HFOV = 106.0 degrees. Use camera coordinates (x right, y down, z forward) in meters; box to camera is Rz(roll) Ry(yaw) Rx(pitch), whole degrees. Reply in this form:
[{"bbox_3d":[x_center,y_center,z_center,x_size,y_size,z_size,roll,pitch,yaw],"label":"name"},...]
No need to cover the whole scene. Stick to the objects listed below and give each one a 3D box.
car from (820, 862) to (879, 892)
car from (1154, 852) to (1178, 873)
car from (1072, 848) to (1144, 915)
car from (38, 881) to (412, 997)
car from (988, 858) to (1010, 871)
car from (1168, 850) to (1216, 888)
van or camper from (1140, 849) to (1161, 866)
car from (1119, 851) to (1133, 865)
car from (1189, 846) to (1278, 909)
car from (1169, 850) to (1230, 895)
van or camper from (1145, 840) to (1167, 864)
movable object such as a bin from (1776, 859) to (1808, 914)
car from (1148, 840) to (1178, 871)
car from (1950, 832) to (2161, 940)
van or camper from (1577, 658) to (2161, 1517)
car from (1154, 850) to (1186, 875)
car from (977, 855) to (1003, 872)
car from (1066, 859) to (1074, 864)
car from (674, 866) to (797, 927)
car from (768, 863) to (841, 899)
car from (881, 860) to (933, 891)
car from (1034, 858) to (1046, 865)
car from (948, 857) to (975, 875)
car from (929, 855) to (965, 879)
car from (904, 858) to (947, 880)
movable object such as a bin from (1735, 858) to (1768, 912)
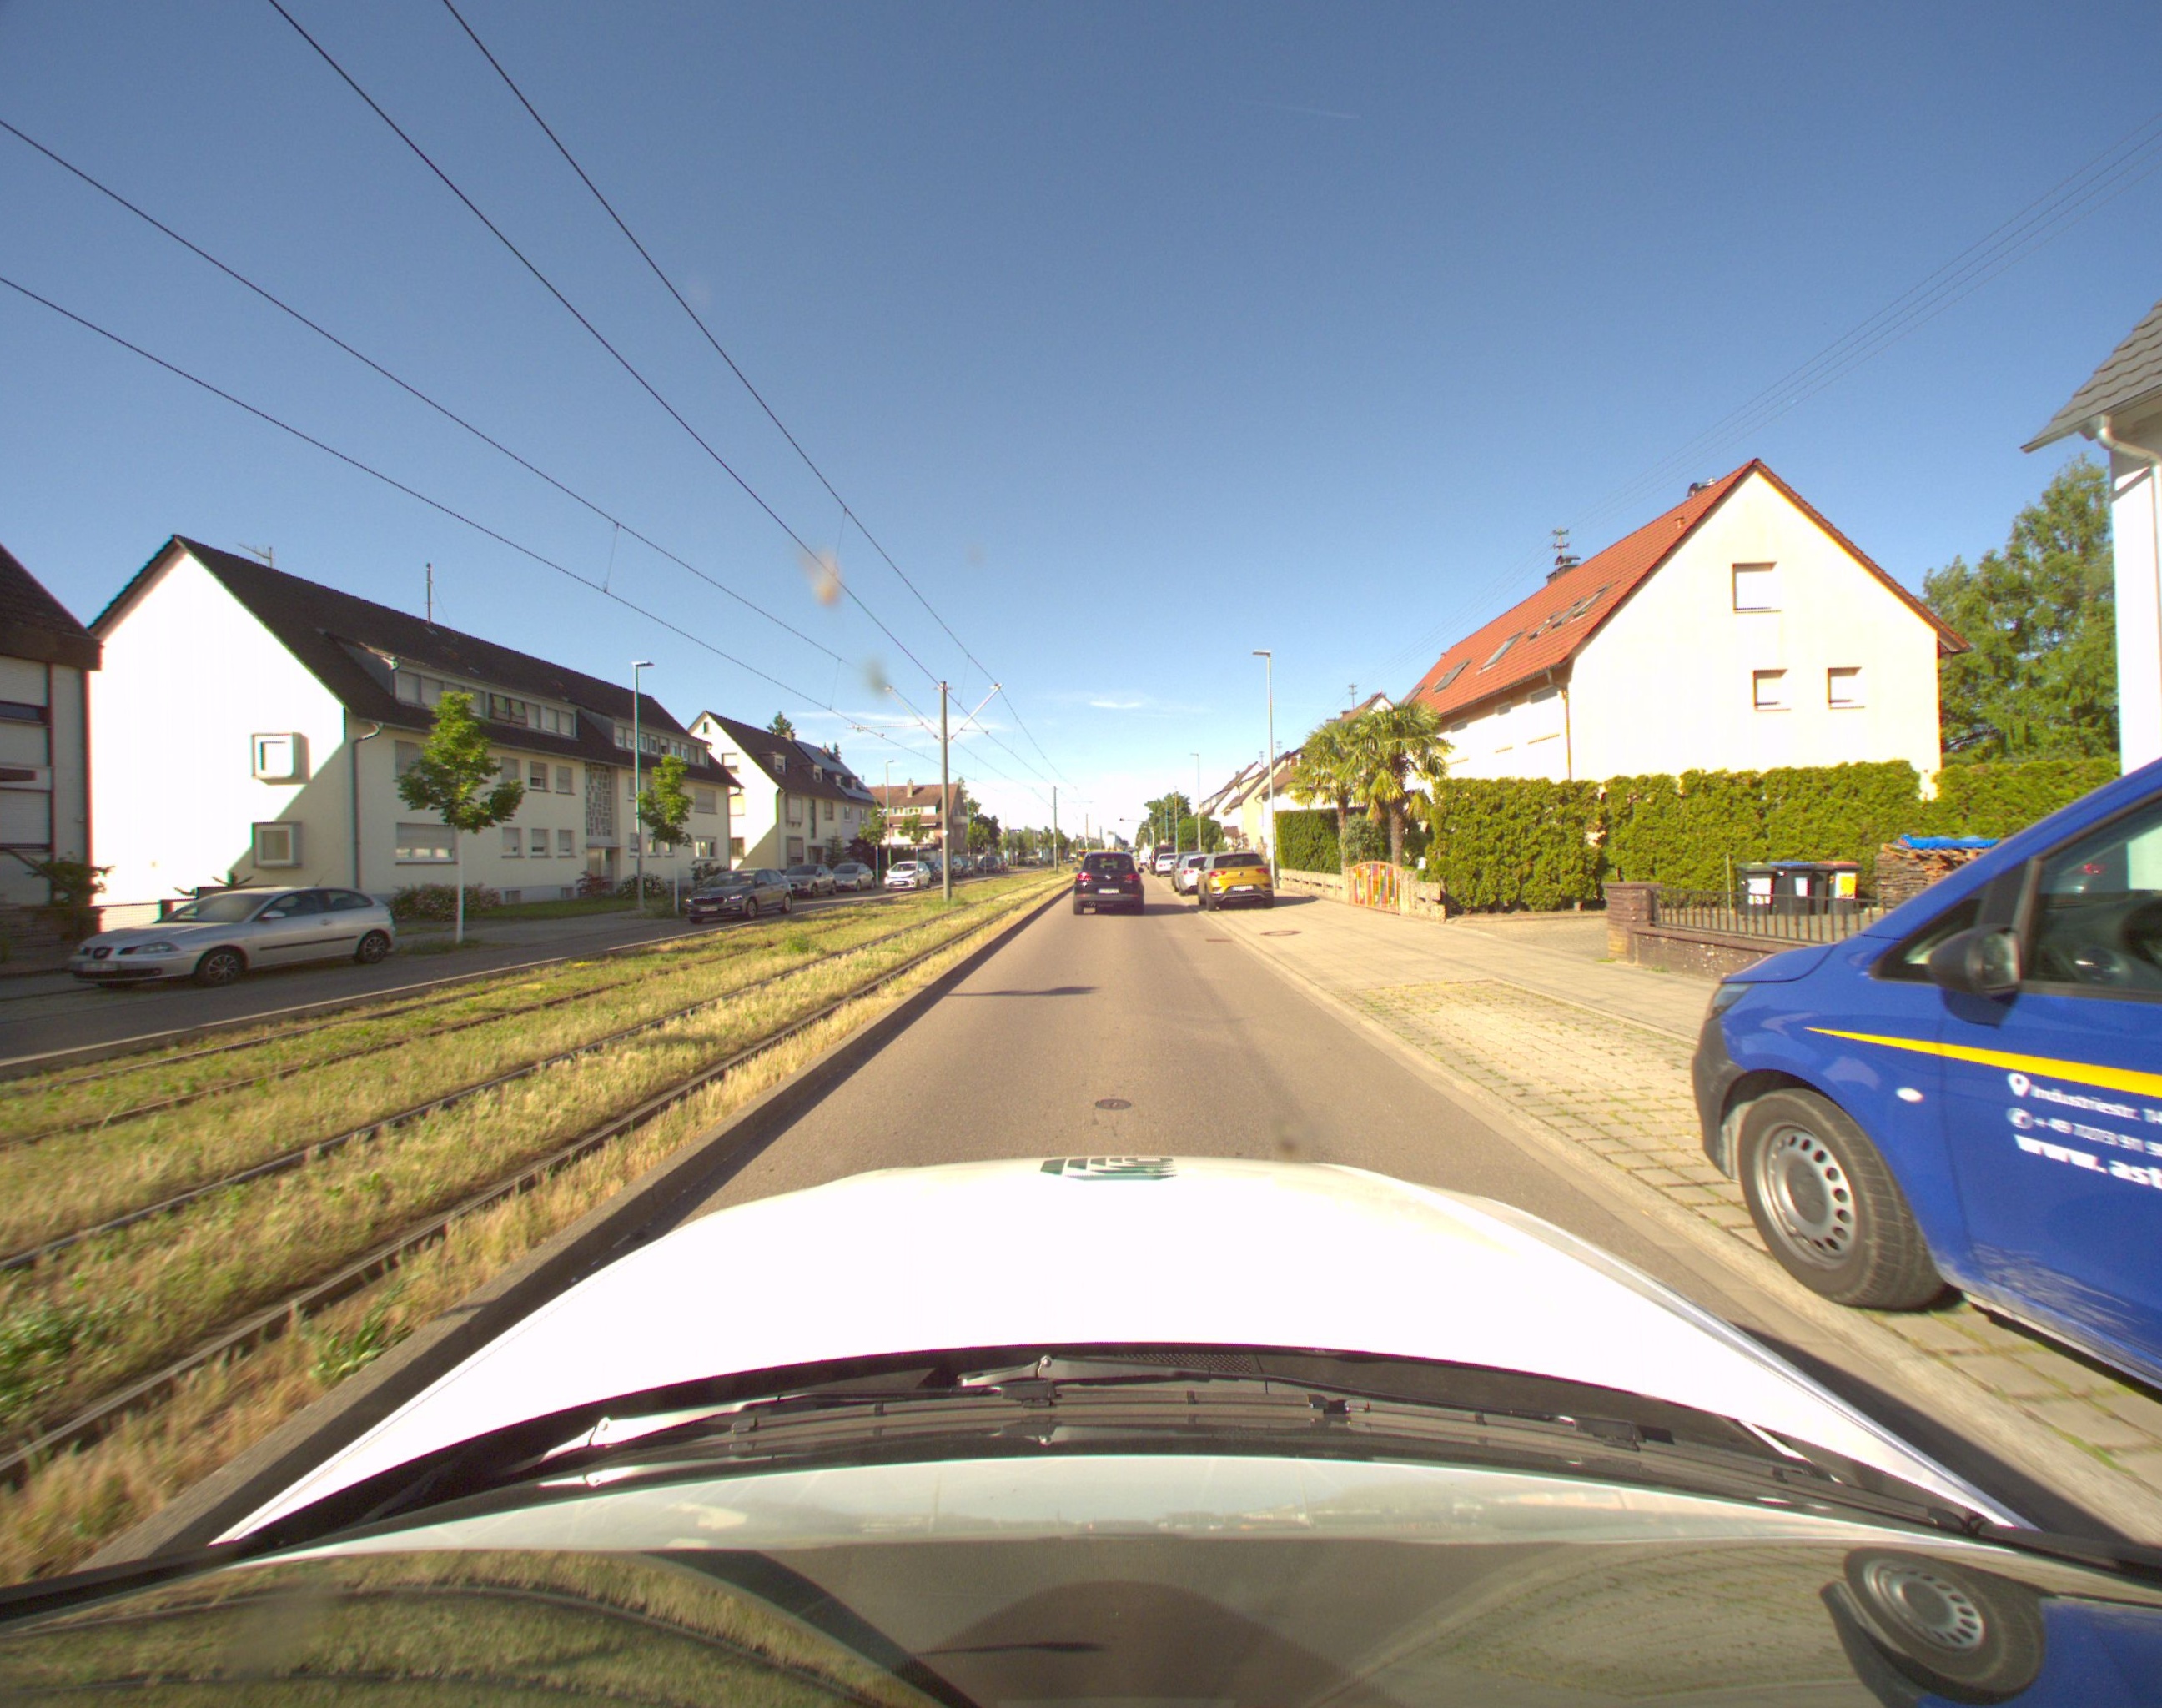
[{"bbox_3d":[-11.982,1.156,42.488,1.682,1.475,4.444,0,0,2],"label":"car"},{"bbox_3d":[7.048,0.721,67.757,1.718,1.645,4.322,-2,0,3],"label":"car"},{"bbox_3d":[0.736,0.696,22.203,1.769,1.670,4.001,0,-1,2],"label":"car"},{"bbox_3d":[-13.421,1.227,13.216,1.652,1.436,4.104,-1,0,2],"label":"car"},{"bbox_3d":[-8.972,1.128,89.645,1.687,1.405,4.083,-2,0,4],"label":"car"},{"bbox_3d":[4.897,0.624,36.362,1.769,1.498,4.733,-2,0,4],"label":"car"},{"bbox_3d":[8.846,0.423,103.268,2.015,1.956,5.312,-2,0,11],"label":"van or camper"},{"bbox_3d":[6.182,0.592,113.382,1.623,1.828,4.129,-2,0,-1],"label":"car"},{"bbox_3d":[4.258,0.615,23.478,1.798,1.559,4.929,-2,0,3],"label":"car"},{"bbox_3d":[4.374,0.635,30.660,1.741,1.447,4.702,-2,1,2],"label":"car"},{"bbox_3d":[7.556,-0.136,82.578,1.985,2.271,6.311,-3,-1,4],"label":"van or camper"},{"bbox_3d":[12.243,0.558,14.035,0.240,0.925,0.335,0,-1,-13],"label":"movable object such as a bin"},{"bbox_3d":[6.006,0.128,60.096,1.951,2.144,5.340,-2,0,3],"label":"car"},{"bbox_3d":[15.350,0.408,11.703,3.872,1.421,1.813,-1,-1,-2],"label":"car"},{"bbox_3d":[3.250,0.466,0.982,1.942,1.846,5.584,-2,0,1],"label":"van or camper"},{"bbox_3d":[5.769,0.546,53.384,1.844,1.443,5.620,-3,0,5],"label":"car"},{"bbox_3d":[-9.299,0.996,83.684,1.811,1.684,4.851,0,0,4],"label":"car"},{"bbox_3d":[-3.224,2.057,232.874,1.680,1.389,4.394,-3,-1,5],"label":"car"},{"bbox_3d":[-9.922,1.157,23.742,1.682,1.475,4.084,-4,-1,1],"label":"car"},{"bbox_3d":[-12.279,1.157,36.493,1.682,1.473,4.316,0,0,2],"label":"car"},{"bbox_3d":[-8.710,1.043,41.029,1.682,1.475,3.681,-2,-1,1],"label":"car"},{"bbox_3d":[-8.507,1.472,169.763,1.800,1.461,4.327,0,-1,8],"label":"car"},{"bbox_3d":[-10.368,1.016,70.725,1.670,1.491,4.051,0,0,1],"label":"car"},{"bbox_3d":[-10.631,0.974,64.857,1.737,1.823,4.846,0,0,4],"label":"car"},{"bbox_3d":[-11.147,1.068,58.624,1.952,1.540,4.560,0,0,3],"label":"car"},{"bbox_3d":[11.782,0.540,14.325,0.239,0.950,0.406,0,-1,-1],"label":"movable object such as a bin"}]
